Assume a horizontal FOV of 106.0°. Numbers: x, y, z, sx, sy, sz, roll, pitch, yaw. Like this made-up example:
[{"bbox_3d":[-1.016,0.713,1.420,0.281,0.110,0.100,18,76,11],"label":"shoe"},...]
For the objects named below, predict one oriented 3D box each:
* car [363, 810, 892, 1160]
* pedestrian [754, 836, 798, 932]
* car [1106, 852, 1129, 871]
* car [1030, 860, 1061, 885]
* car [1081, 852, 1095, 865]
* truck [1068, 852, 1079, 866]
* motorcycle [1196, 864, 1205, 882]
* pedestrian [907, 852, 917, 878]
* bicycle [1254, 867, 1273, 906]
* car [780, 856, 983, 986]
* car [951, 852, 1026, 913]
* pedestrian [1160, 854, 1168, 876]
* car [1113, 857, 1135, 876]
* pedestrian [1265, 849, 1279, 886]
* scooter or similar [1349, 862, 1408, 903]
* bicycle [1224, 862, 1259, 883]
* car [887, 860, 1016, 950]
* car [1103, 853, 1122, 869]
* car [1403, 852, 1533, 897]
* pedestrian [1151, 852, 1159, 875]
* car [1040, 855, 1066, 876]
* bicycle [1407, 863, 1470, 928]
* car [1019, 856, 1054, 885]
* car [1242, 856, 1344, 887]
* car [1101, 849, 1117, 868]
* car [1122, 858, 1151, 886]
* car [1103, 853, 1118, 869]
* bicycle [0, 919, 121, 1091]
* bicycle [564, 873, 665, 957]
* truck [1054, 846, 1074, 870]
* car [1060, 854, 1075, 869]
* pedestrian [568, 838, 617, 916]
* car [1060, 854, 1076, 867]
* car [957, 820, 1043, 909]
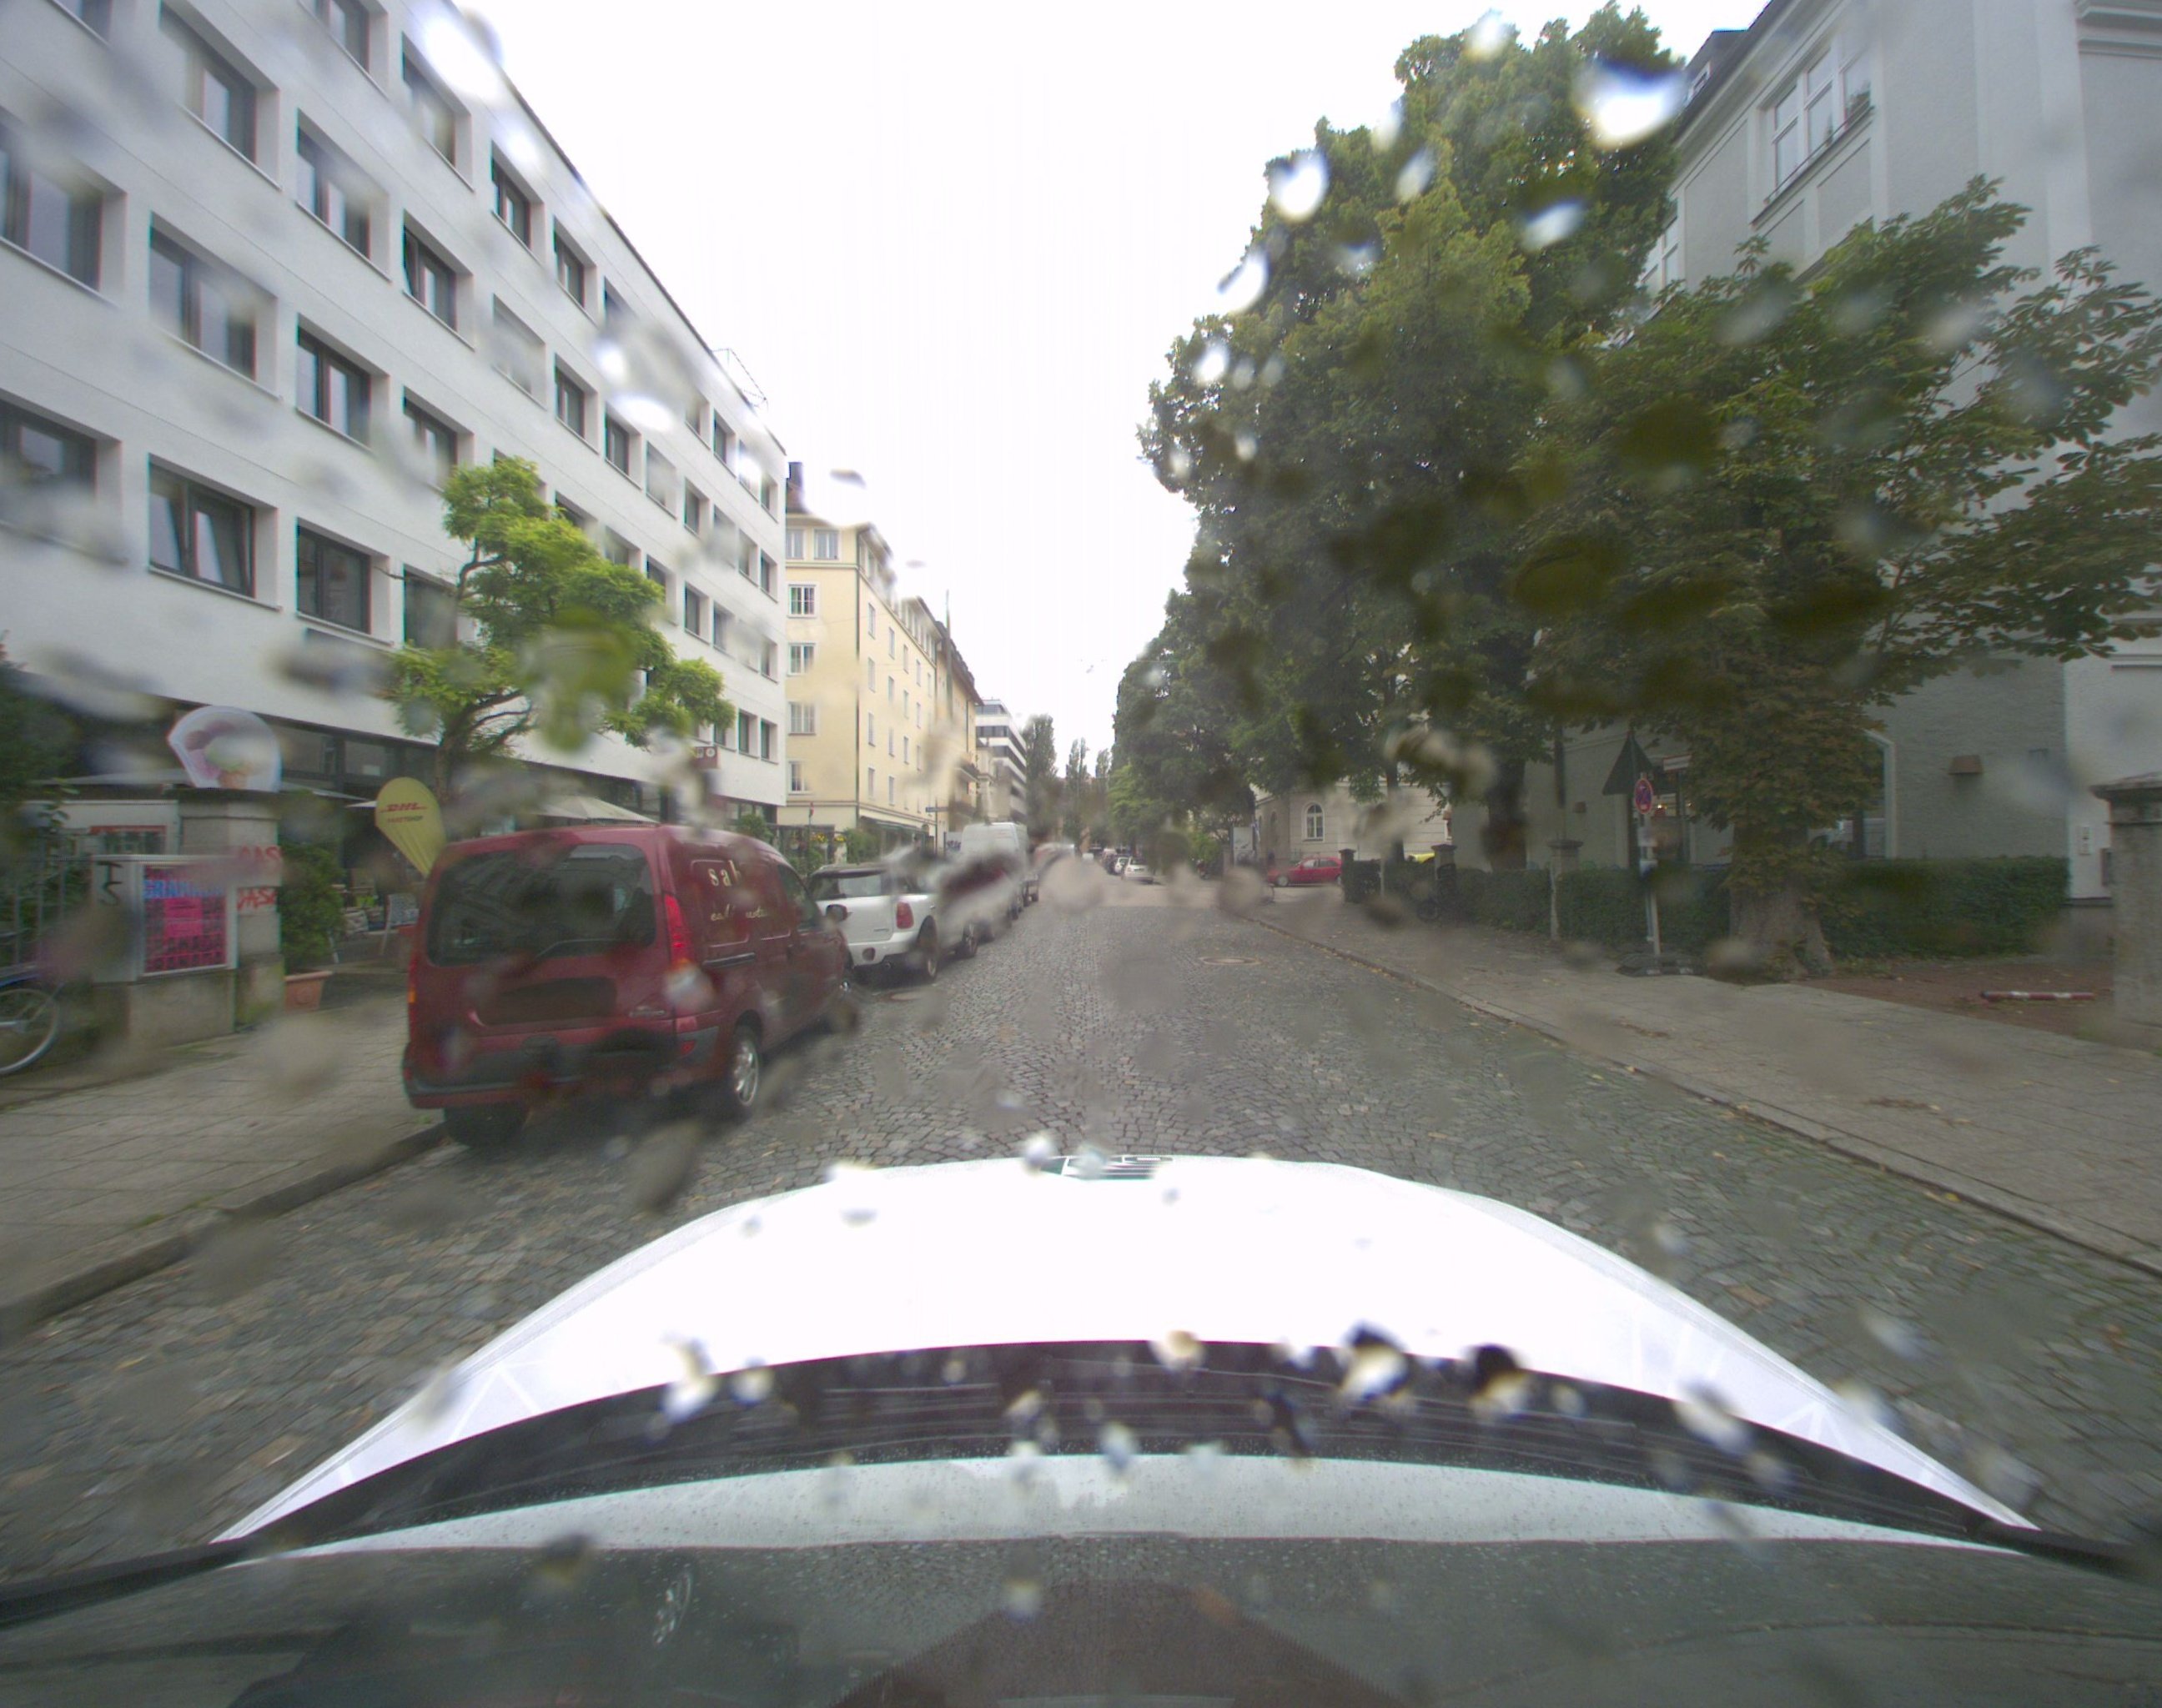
[{"bbox_3d":[-2.759,0.681,6.087,1.712,1.723,3.898,-2,-1,0],"label":"car"},{"bbox_3d":[-5.957,0.572,15.942,0.613,1.840,0.812,0,-1,-6],"label":"pedestrian"},{"bbox_3d":[3.257,0.698,73.191,1.868,1.673,5.491,0,-1,1],"label":"car"},{"bbox_3d":[-2.243,1.146,52.286,1.768,1.536,4.540,-1,0,0],"label":"car"},{"bbox_3d":[1.038,0.672,119.464,1.989,1.936,4.001,0,-1,2],"label":"car"},{"bbox_3d":[-1.273,0.832,139.809,1.987,2.347,4.067,0,-1,0],"label":"truck"},{"bbox_3d":[7.065,1.114,48.084,0.361,1.090,1.404,0,-1,3],"label":"motorcycle"},{"bbox_3d":[-10.701,0.707,51.638,0.520,1.642,0.629,0,-1,0],"label":"pedestrian"},{"bbox_3d":[5.590,0.978,24.964,0.386,1.147,1.592,-1,-1,7],"label":"bicycle"},{"bbox_3d":[-2.530,0.789,11.283,1.686,1.504,3.780,0,-1,3],"label":"car"},{"bbox_3d":[-2.381,0.717,21.793,1.657,1.482,3.979,0,-1,-2],"label":"car"},{"bbox_3d":[6.571,0.868,64.774,0.625,1.808,0.661,0,-1,5],"label":"pedestrian"},{"bbox_3d":[3.602,1.014,68.102,1.625,1.469,3.658,2,-1,0],"label":"car"},{"bbox_3d":[9.764,0.673,41.610,0.492,1.876,0.741,0,-1,-5],"label":"pedestrian"},{"bbox_3d":[8.849,0.854,24.243,1.588,1.172,0.407,-1,-1,23],"label":"scooter or similar"},{"bbox_3d":[8.625,0.984,43.692,1.825,1.124,0.564,-1,0,13],"label":"bicycle"},{"bbox_3d":[-2.434,0.911,16.413,1.719,1.464,4.474,-3,0,1],"label":"car"},{"bbox_3d":[3.640,0.803,93.702,1.957,1.759,4.952,0,-1,0],"label":"car"},{"bbox_3d":[14.330,0.742,30.365,4.048,1.597,1.911,0,-1,11],"label":"car"},{"bbox_3d":[5.839,0.737,64.282,0.572,1.850,0.683,-1,0,7],"label":"pedestrian"},{"bbox_3d":[-2.164,0.889,63.772,1.767,1.647,4.392,0,-1,1],"label":"car"},{"bbox_3d":[7.055,0.791,16.156,0.426,1.198,1.731,-5,-1,1],"label":"bicycle"},{"bbox_3d":[-2.539,0.931,47.494,1.847,1.586,4.745,0,-1,-1],"label":"car"},{"bbox_3d":[9.868,0.815,38.181,4.443,1.358,1.764,-1,0,7],"label":"car"},{"bbox_3d":[3.813,0.600,112.268,1.889,2.426,5.609,3,0,0],"label":"car"},{"bbox_3d":[3.190,1.024,47.377,1.496,1.471,3.796,2,-1,1],"label":"car"},{"bbox_3d":[3.850,0.948,106.836,1.794,1.949,4.859,2,-1,0],"label":"car"},{"bbox_3d":[-7.291,1.033,5.267,0.257,1.078,1.684,0,1,-4],"label":"bicycle"},{"bbox_3d":[-7.136,0.885,12.558,0.359,1.175,1.912,0,-1,3],"label":"bicycle"},{"bbox_3d":[-2.253,0.491,110.655,2.501,3.031,6.382,-2,0,-1],"label":"truck"},{"bbox_3d":[-1.552,0.854,94.468,1.768,1.718,4.389,0,-1,-1],"label":"car"},{"bbox_3d":[-10.715,0.482,17.870,0.553,1.660,0.784,2,1,2],"label":"pedestrian"},{"bbox_3d":[-1.572,0.797,99.752,1.934,1.459,4.056,0,-1,-1],"label":"car"},{"bbox_3d":[-2.556,0.333,27.208,1.969,2.574,5.797,-2,-1,2],"label":"car"}]
